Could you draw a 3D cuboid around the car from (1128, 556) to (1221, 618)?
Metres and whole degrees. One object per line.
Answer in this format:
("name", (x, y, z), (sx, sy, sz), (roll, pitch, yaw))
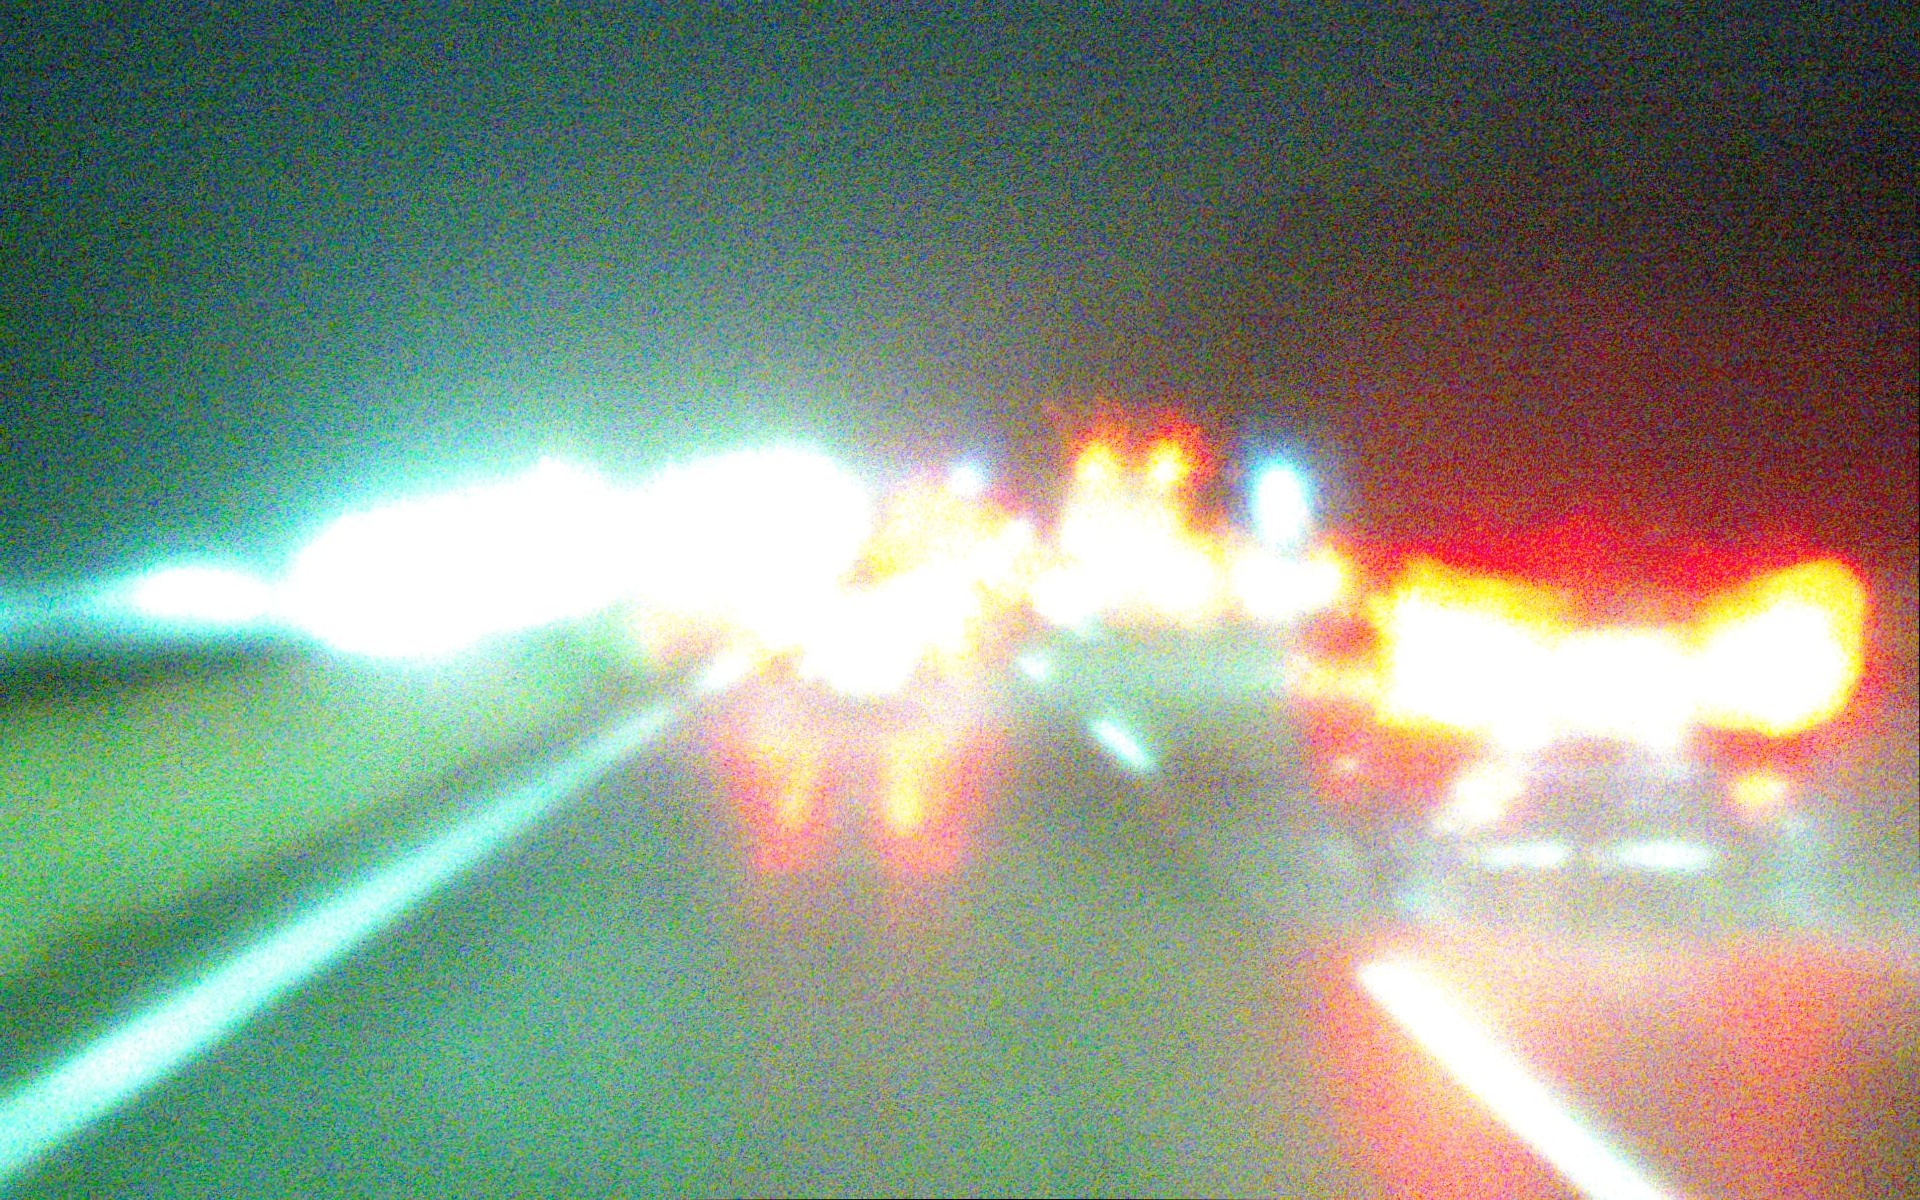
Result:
("car", (5.575, -0.368, 90.001), (1.894, 1.481, 4.963), (1, 1, -2))

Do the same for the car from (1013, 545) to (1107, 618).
("car", (1.977, -0.393, 68.907), (1.612, 1.407, 3.792), (0, 1, -2))

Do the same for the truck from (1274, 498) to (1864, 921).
("truck", (2.688, 0.412, 16.344), (1.843, 1.690, 4.855), (1, 1, -1))

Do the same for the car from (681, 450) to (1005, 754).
("car", (-1.152, -0.057, 32.685), (2.709, 2.525, 5.832), (-2, 2, -3))

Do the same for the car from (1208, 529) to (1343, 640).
("car", (6.144, -0.347, 67.454), (2.046, 1.967, 5.407), (-2, 2, 0))
